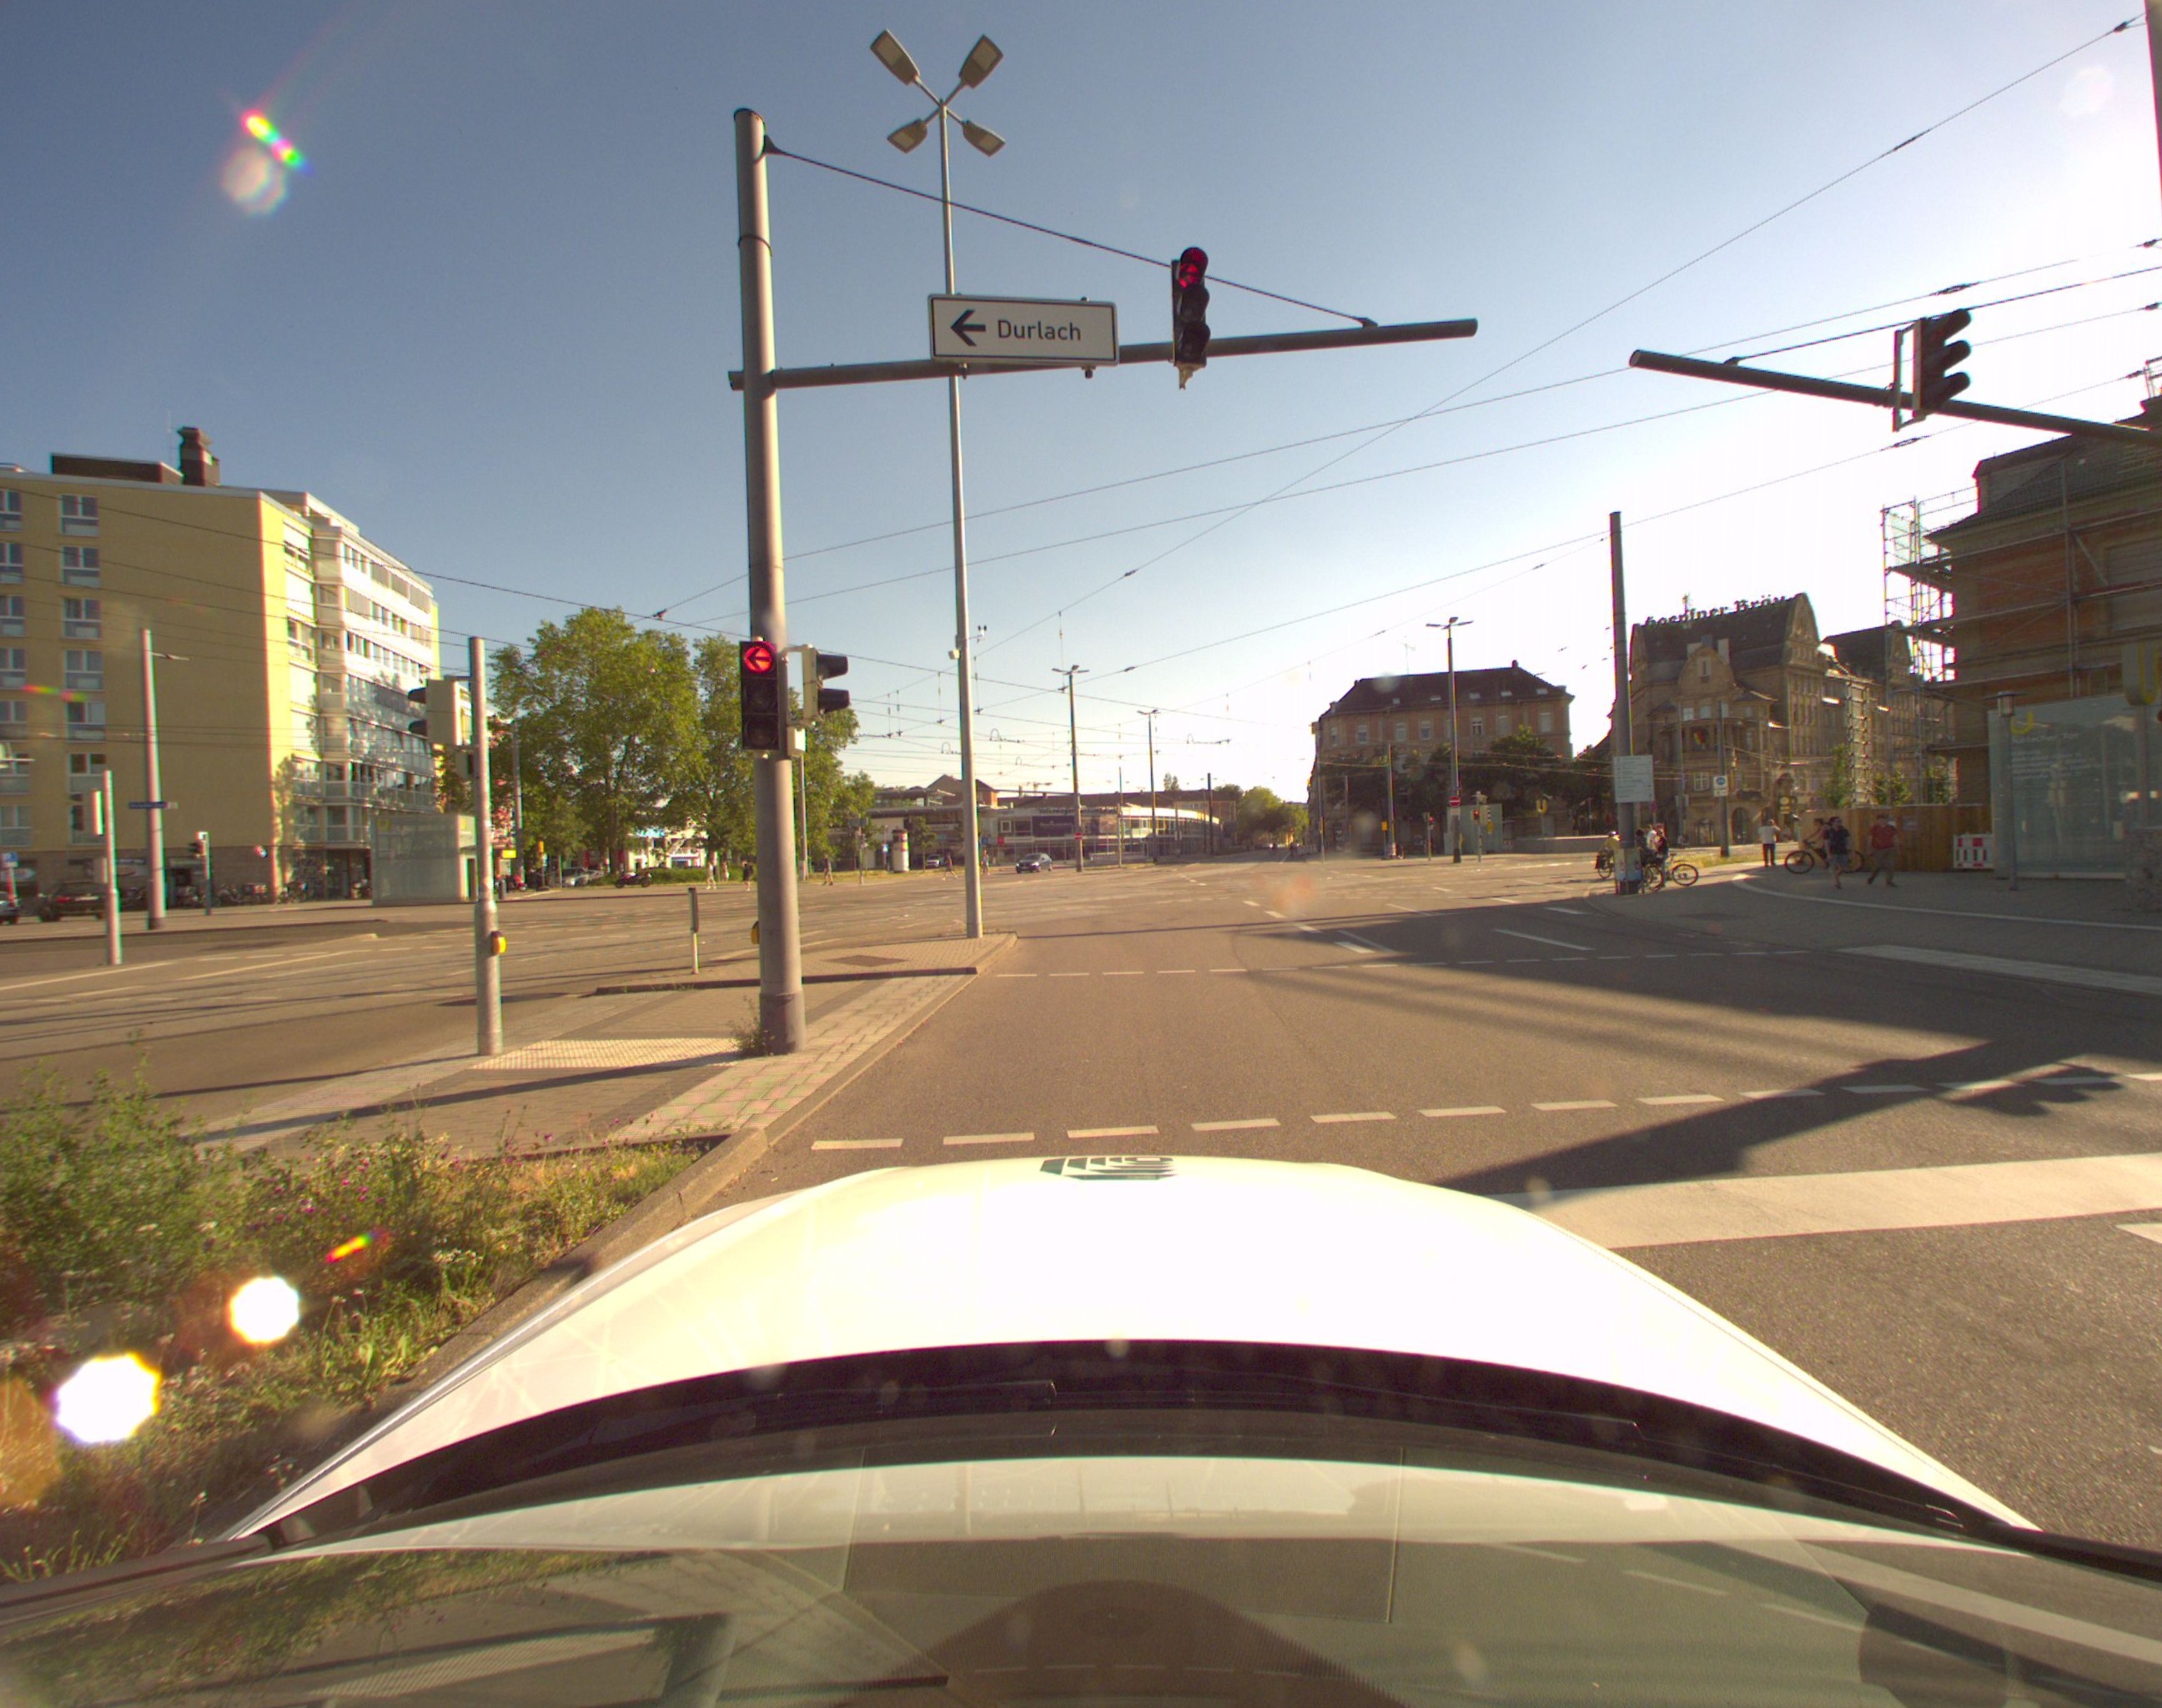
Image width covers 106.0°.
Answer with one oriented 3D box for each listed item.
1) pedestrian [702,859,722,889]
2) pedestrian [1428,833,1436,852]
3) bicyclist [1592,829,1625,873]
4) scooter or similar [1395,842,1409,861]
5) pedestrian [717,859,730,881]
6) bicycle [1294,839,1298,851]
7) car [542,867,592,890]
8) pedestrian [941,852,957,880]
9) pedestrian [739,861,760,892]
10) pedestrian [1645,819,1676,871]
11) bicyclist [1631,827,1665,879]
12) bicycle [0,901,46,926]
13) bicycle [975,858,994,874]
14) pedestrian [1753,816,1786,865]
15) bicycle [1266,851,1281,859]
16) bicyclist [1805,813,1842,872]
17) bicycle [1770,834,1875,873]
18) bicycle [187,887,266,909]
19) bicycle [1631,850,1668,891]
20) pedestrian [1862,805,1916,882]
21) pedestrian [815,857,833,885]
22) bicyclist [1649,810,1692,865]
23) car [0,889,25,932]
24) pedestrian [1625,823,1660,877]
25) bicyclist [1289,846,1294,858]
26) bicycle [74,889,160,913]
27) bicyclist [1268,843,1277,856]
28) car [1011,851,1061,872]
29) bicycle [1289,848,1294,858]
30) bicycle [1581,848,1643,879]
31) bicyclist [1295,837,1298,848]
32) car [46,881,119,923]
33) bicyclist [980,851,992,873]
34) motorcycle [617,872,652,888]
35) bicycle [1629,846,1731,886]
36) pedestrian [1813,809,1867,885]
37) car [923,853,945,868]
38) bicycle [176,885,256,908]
[{"bbox_3d":[-21.712,1.166,47.882,0.790,1.706,0.760,-1,-1,9],"label":"pedestrian"},{"bbox_3d":[36.605,-1.209,84.998,0.598,2.013,0.649,-2,0,16],"label":"pedestrian"},{"bbox_3d":[19.133,-0.104,29.538,0.514,1.557,0.945,0,-1,-6],"label":"bicyclist"},{"bbox_3d":[24.759,-0.178,62.790,0.780,1.376,1.916,-1,-1,16],"label":"scooter or similar"},{"bbox_3d":[-28.168,1.258,64.145,0.854,1.694,0.497,0,-1,-1],"label":"pedestrian"},{"bbox_3d":[36.811,-1.456,139.306,0.613,2.014,2.410,-1,-1,16],"label":"bicycle"},{"bbox_3d":[-37.305,1.721,59.243,1.772,1.567,3.983,0,-1,-12],"label":"car"},{"bbox_3d":[-8.789,0.788,54.263,0.790,1.886,0.760,-1,-1,9],"label":"pedestrian"},{"bbox_3d":[-18.343,1.237,45.032,0.790,1.706,0.760,-1,-1,9],"label":"pedestrian"},{"bbox_3d":[21.772,-0.325,30.594,0.646,1.922,0.689,0,-1,-6],"label":"pedestrian"},{"bbox_3d":[15.865,-0.022,22.800,0.701,1.439,0.953,-1,-1,31],"label":"bicyclist"},{"bbox_3d":[-54.418,3.008,40.985,3.041,1.151,0.637,0,-1,-16],"label":"bicycle"},{"bbox_3d":[-7.094,0.889,59.974,0.607,1.189,1.878,-1,-1,19],"label":"bicycle"},{"bbox_3d":[25.762,-0.484,30.473,0.646,1.814,0.689,0,-1,-6],"label":"pedestrian"},{"bbox_3d":[23.323,0.073,98.710,1.580,0.952,0.663,-1,-1,43],"label":"bicycle"},{"bbox_3d":[22.833,-0.347,25.055,0.785,1.779,0.526,-1,-1,37],"label":"bicyclist"},{"bbox_3d":[22.779,-0.007,25.077,2.290,1.049,0.539,-5,-1,36],"label":"bicycle"},{"bbox_3d":[-46.353,2.379,44.234,3.041,1.151,0.637,0,-1,-16],"label":"bicycle"},{"bbox_3d":[15.840,0.425,22.732,0.692,1.049,2.335,0,1,31],"label":"bicycle"},{"bbox_3d":[19.454,-0.240,19.619,0.672,1.807,0.680,0,-1,-19],"label":"pedestrian"},{"bbox_3d":[-15.918,1.032,50.449,0.790,1.706,0.760,-1,-1,9],"label":"pedestrian"},{"bbox_3d":[17.169,-0.469,23.749,0.935,1.557,0.715,-1,-1,32],"label":"bicyclist"},{"bbox_3d":[-47.015,2.420,34.870,3.948,1.706,2.013,-1,-1,35],"label":"car"},{"bbox_3d":[21.049,-0.152,30.537,0.730,2.014,0.760,0,-1,-6],"label":"pedestrian"},{"bbox_3d":[20.095,-0.170,77.712,0.405,1.116,0.400,-1,-1,13],"label":"bicyclist"},{"bbox_3d":[-50.270,2.444,42.519,3.041,1.151,0.637,0,-1,-16],"label":"bicycle"},{"bbox_3d":[23.236,-0.521,98.733,0.778,1.577,0.752,0,-1,-45],"label":"bicyclist"},{"bbox_3d":[-3.365,0.564,61.985,1.975,1.585,4.024,-1,-1,29],"label":"car"},{"bbox_3d":[20.136,-0.067,77.839,0.407,0.941,1.852,-1,-1,15],"label":"bicycle"},{"bbox_3d":[19.149,0.335,29.441,0.533,1.049,2.315,0,1,-6],"label":"bicycle"},{"bbox_3d":[36.783,-1.978,139.078,0.595,1.809,0.830,-1,-1,15],"label":"bicyclist"},{"bbox_3d":[-44.246,2.075,36.084,3.948,1.706,1.730,-1,-1,35],"label":"car"},{"bbox_3d":[-7.034,0.605,60.161,0.593,1.615,0.826,-1,-1,19],"label":"bicyclist"},{"bbox_3d":[-27.262,1.578,49.761,1.779,0.914,0.675,0,-1,-19],"label":"motorcycle"},{"bbox_3d":[17.331,0.362,23.646,2.290,1.049,0.705,-3,-2,32],"label":"bicycle"},{"bbox_3d":[18.537,-0.172,19.895,0.672,1.807,0.680,-3,0,-19],"label":"pedestrian"},{"bbox_3d":[-18.009,0.837,99.873,1.988,1.750,3.997,0,-1,-1],"label":"car"},{"bbox_3d":[-46.248,2.268,43.583,3.041,1.151,0.637,0,-1,-16],"label":"bicycle"}]
